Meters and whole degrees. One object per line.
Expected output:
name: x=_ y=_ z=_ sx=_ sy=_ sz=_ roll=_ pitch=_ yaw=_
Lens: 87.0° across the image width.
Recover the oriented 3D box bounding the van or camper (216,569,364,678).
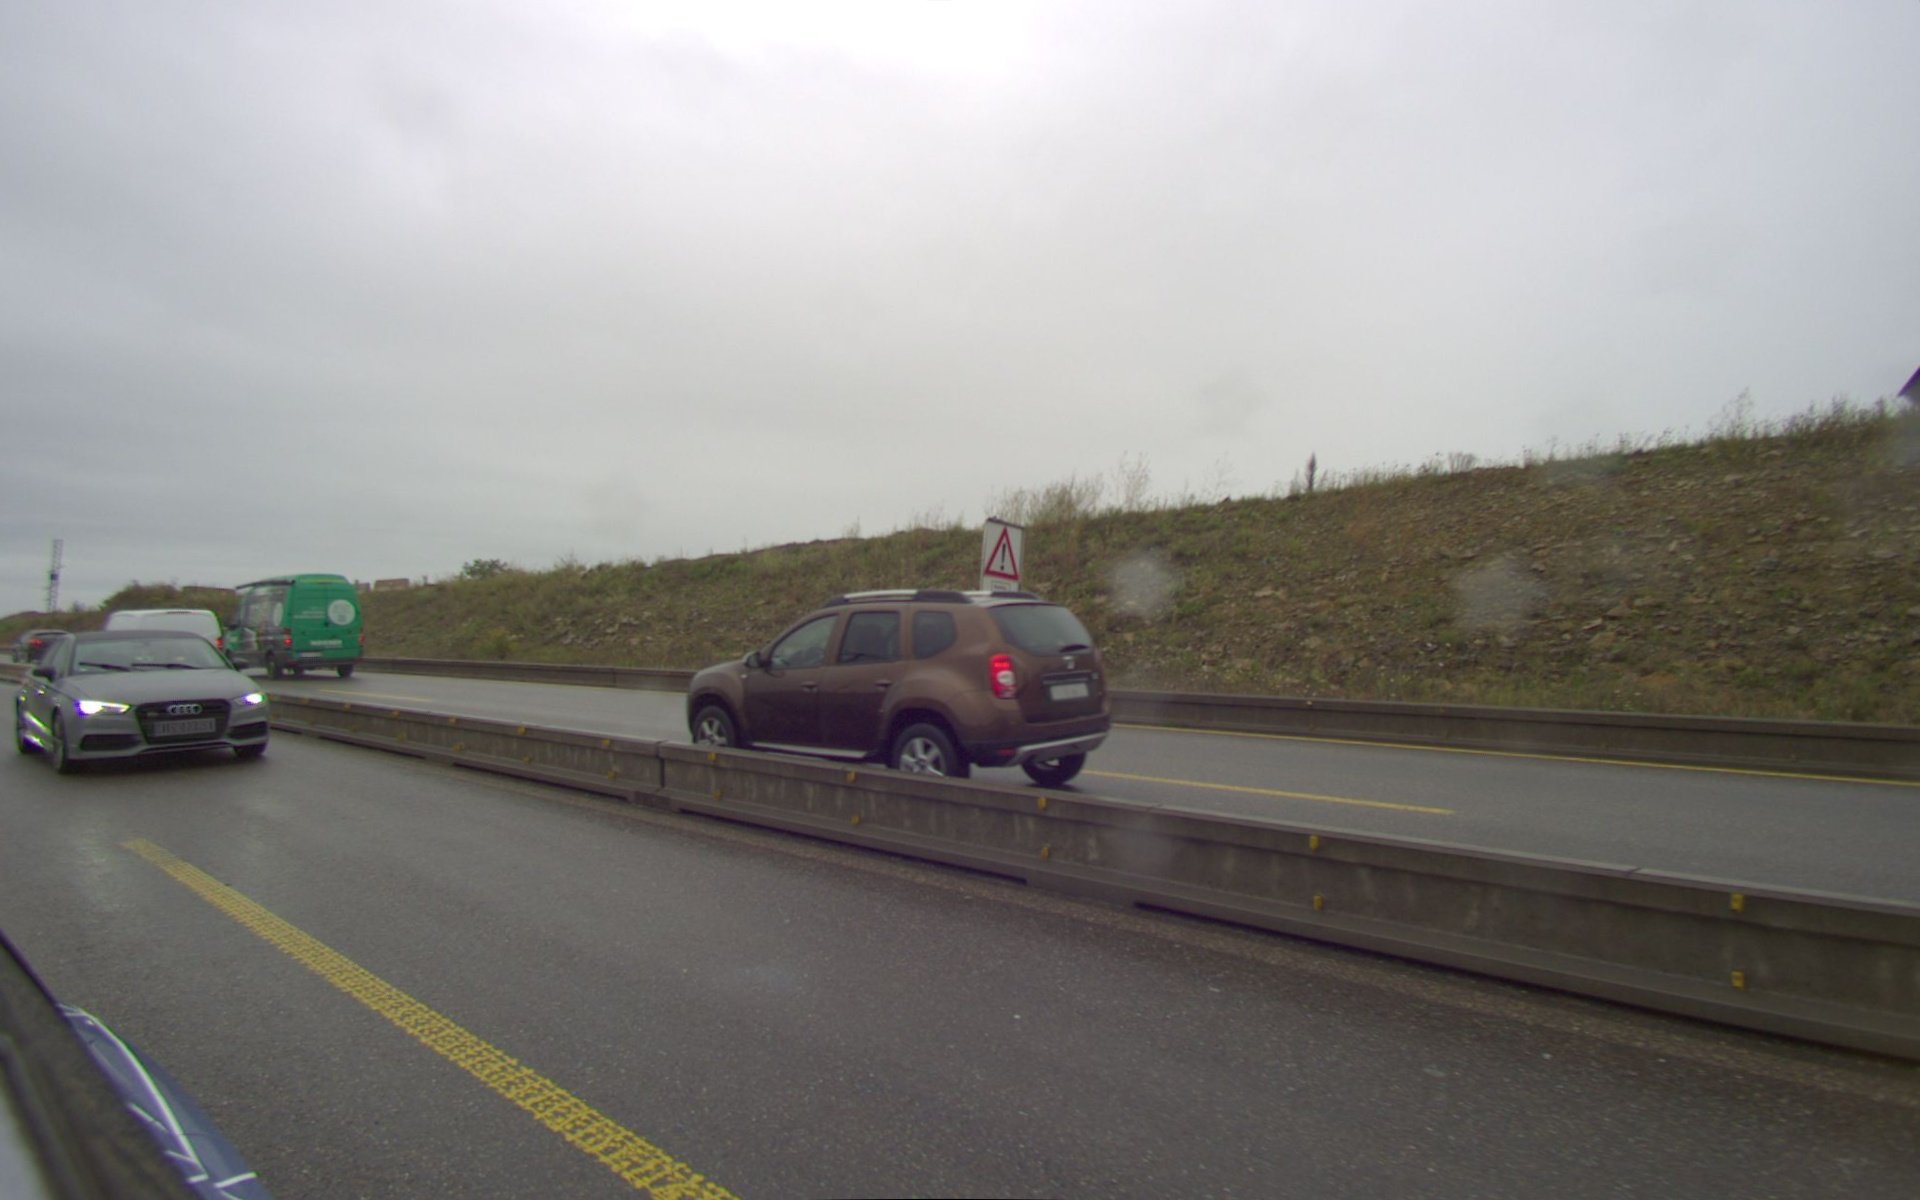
van or camper: x=-19.305 y=0.659 z=29.037 sx=5.941 sy=2.839 sz=2.078 roll=-2 pitch=0 yaw=42

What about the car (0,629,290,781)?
car: x=-9.344 y=1.038 z=11.453 sx=4.083 sy=1.393 sz=1.783 roll=-1 pitch=-1 yaw=39

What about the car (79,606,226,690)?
car: x=-20.809 y=1.172 z=25.992 sx=5.270 sy=1.901 sz=1.980 roll=-2 pitch=0 yaw=41

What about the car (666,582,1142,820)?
car: x=-0.630 y=0.712 z=8.794 sx=3.996 sy=1.609 sz=1.743 roll=-2 pitch=0 yaw=40

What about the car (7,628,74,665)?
car: x=-41.099 y=2.053 z=45.215 sx=4.044 sy=1.548 sz=1.696 roll=-2 pitch=0 yaw=41
